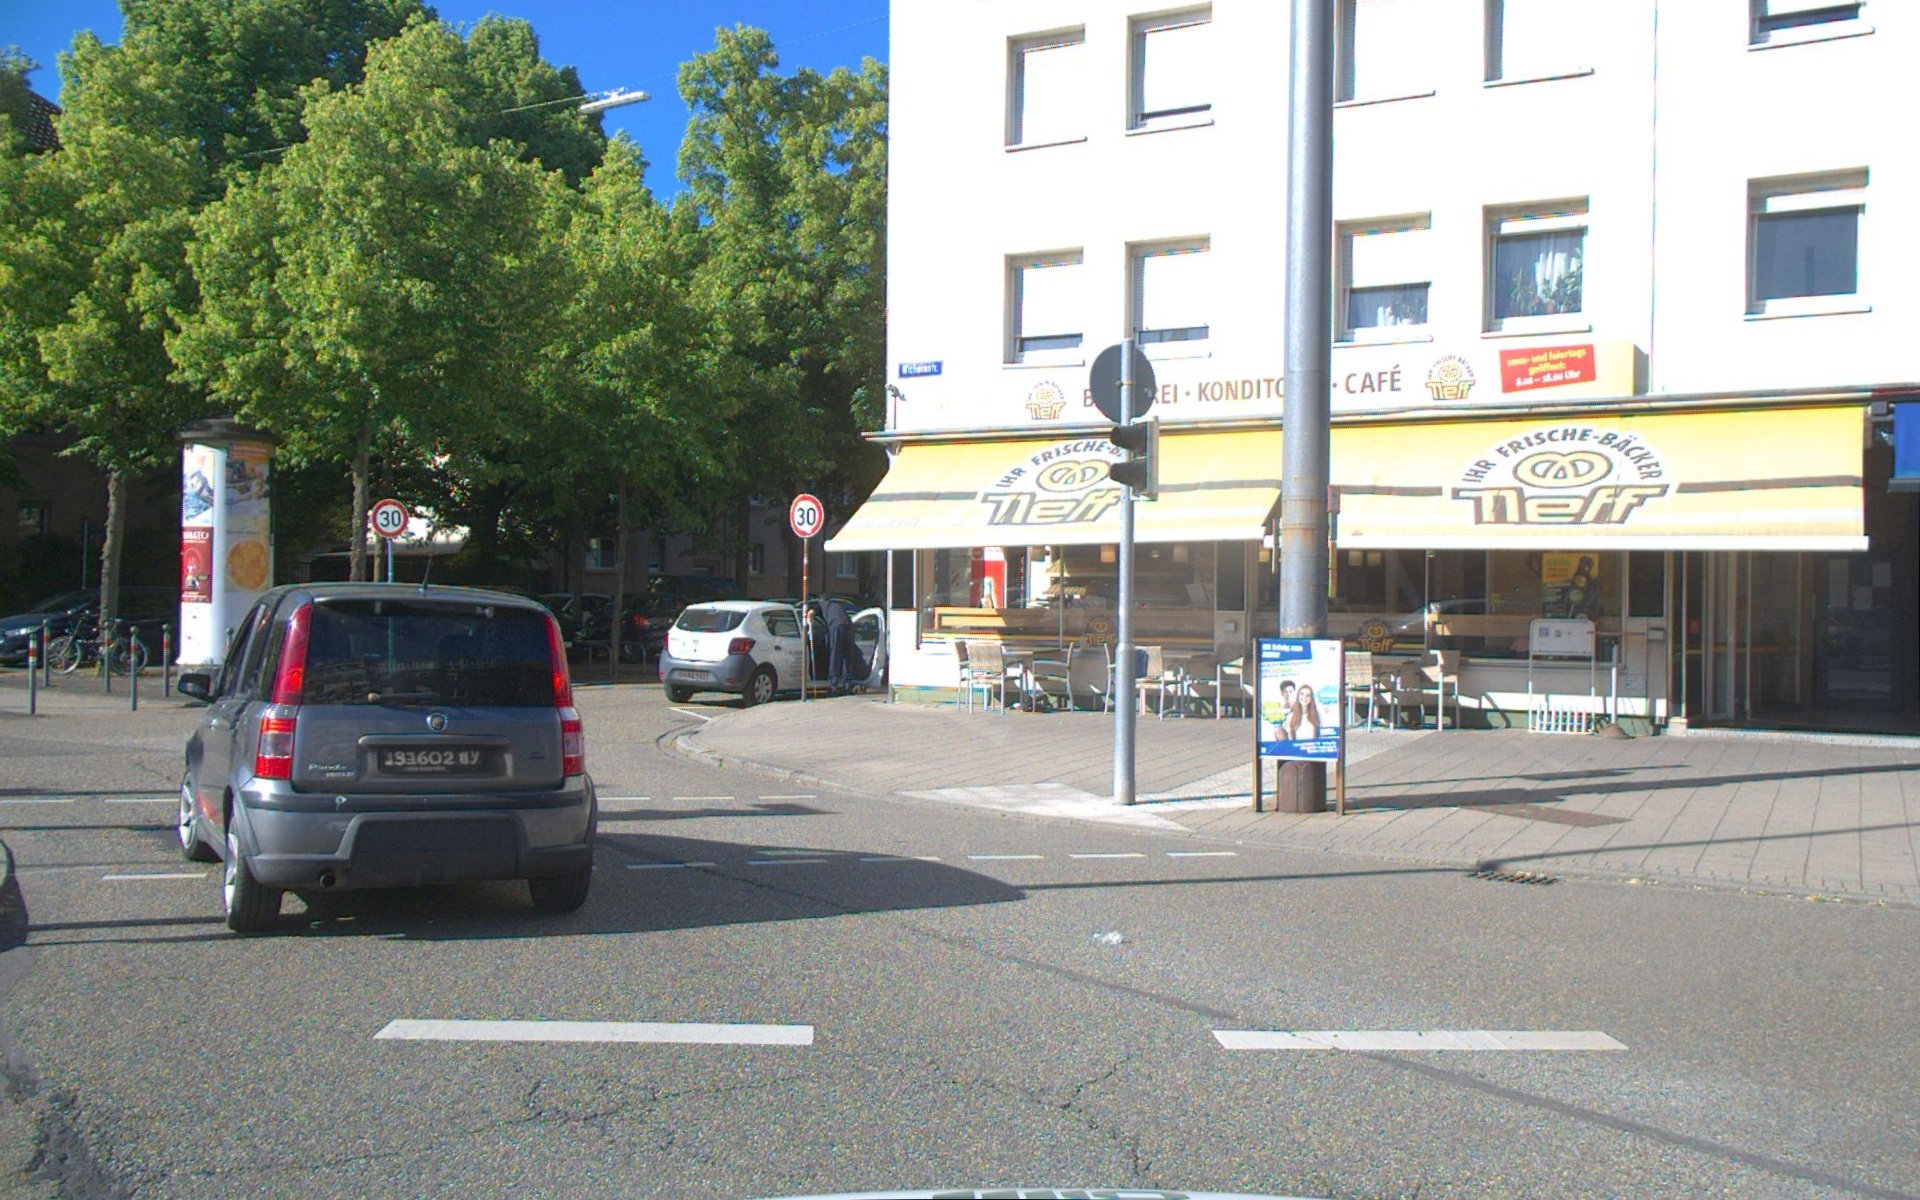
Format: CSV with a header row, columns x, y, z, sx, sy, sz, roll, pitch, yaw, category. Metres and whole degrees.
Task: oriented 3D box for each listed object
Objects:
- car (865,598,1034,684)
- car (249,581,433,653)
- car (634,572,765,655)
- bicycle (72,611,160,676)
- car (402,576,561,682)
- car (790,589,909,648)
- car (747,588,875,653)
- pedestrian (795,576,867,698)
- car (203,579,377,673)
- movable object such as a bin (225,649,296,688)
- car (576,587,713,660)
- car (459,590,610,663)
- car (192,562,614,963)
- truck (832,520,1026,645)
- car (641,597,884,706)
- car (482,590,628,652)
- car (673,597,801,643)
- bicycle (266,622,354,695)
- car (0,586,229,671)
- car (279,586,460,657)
x,y,z,sx,sy,sz,roll,pitch,yaw,category
-0.136,0.720,30.870,1.566,1.489,3.666,1,0,29,car
-15.283,0.394,41.041,1.720,1.669,4.242,1,0,27,car
-6.458,0.299,40.648,1.907,1.906,4.463,1,0,-27,car
-14.772,0.748,28.977,0.345,1.091,1.593,0,0,18,bicycle
-9.010,0.488,30.899,1.813,1.700,4.292,1,2,-31,car
-3.138,0.484,46.229,1.786,1.533,4.305,1,0,-27,car
-3.845,0.487,42.132,1.786,1.533,4.305,1,0,-27,car
-1.903,0.531,24.417,0.746,1.752,0.743,0,0,35,pedestrian
-12.497,0.444,30.744,1.905,1.639,3.942,0,0,-40,car
-11.276,1.103,26.684,0.563,0.575,1.114,0,0,8,movable object such as a bin
-7.048,0.484,36.688,1.739,1.507,3.781,1,0,-32,car
-9.148,0.531,35.354,1.802,1.447,3.898,1,0,-37,car
-2.957,0.635,8.373,1.597,1.589,3.229,0,0,-27,car
-1.042,-0.476,48.031,2.511,3.351,7.253,0,0,-29,truck
-2.945,0.720,25.500,1.687,1.523,4.016,0,0,29,car
-10.518,0.518,43.219,1.718,1.512,3.949,1,0,22,car
-6.714,0.594,50.164,1.729,1.317,4.410,-1,-1,25,car
-10.193,0.900,25.982,0.345,1.091,1.593,0,0,18,bicycle
-16.921,0.516,32.679,1.867,1.545,4.293,1,0,29,car
-13.427,0.464,37.859,1.718,1.512,3.949,1,0,22,car
